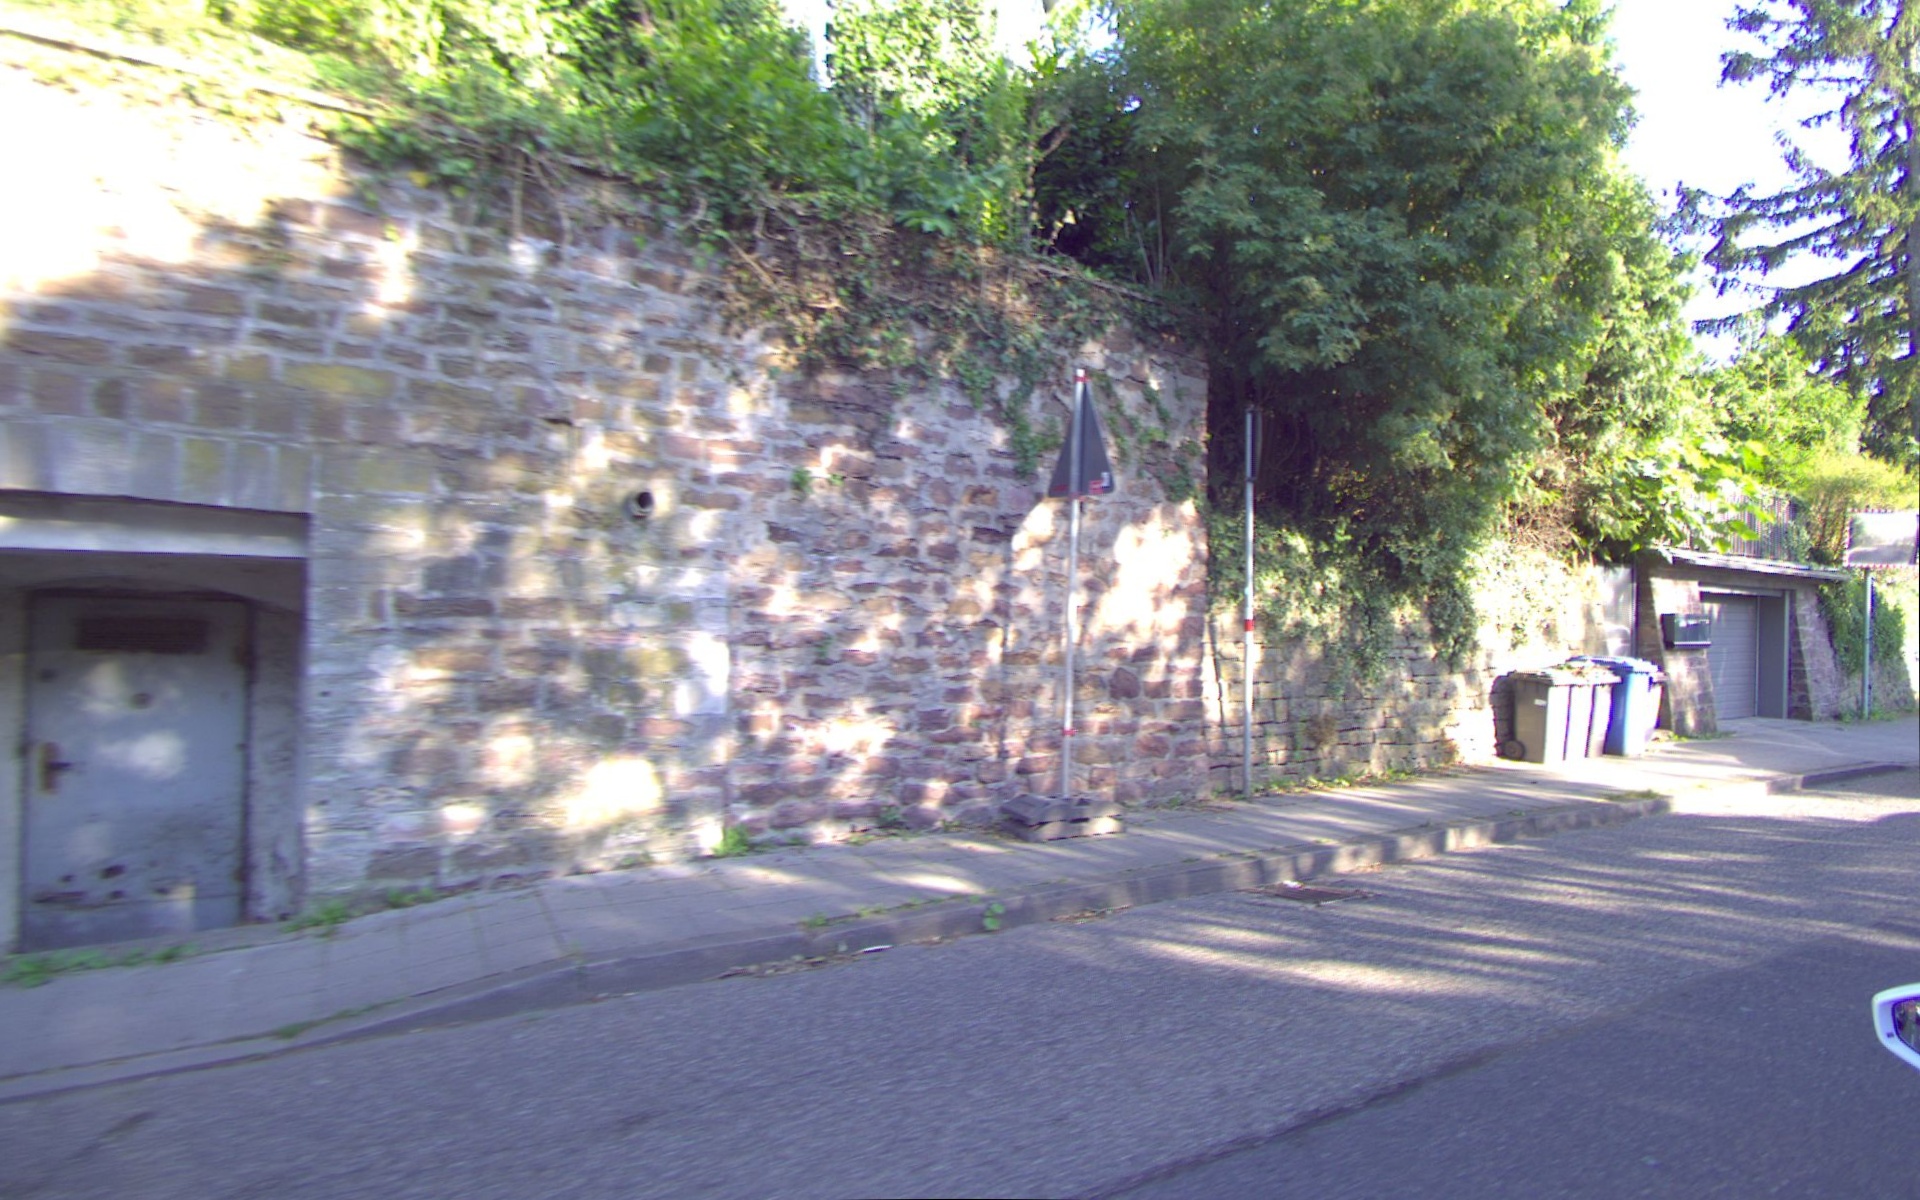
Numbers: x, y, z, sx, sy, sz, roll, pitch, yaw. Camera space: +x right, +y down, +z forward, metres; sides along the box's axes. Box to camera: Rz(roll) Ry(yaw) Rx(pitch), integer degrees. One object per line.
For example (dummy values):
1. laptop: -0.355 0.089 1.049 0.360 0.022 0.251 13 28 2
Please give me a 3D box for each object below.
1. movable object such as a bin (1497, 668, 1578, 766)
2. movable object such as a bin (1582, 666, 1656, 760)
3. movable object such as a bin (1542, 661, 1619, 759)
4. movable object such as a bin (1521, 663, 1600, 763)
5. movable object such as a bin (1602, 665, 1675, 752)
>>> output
1. movable object such as a bin: 6.007 1.200 10.459 0.434 0.950 0.580 2 0 -32
2. movable object such as a bin: 7.341 1.242 11.194 0.577 0.977 0.487 1 0 -33
3. movable object such as a bin: 6.783 1.185 10.989 0.434 0.998 0.570 2 0 -32
4. movable object such as a bin: 6.391 1.186 10.702 0.434 0.998 0.570 2 0 -32
5. movable object such as a bin: 7.908 1.248 11.713 0.434 0.937 0.570 1 0 -32
